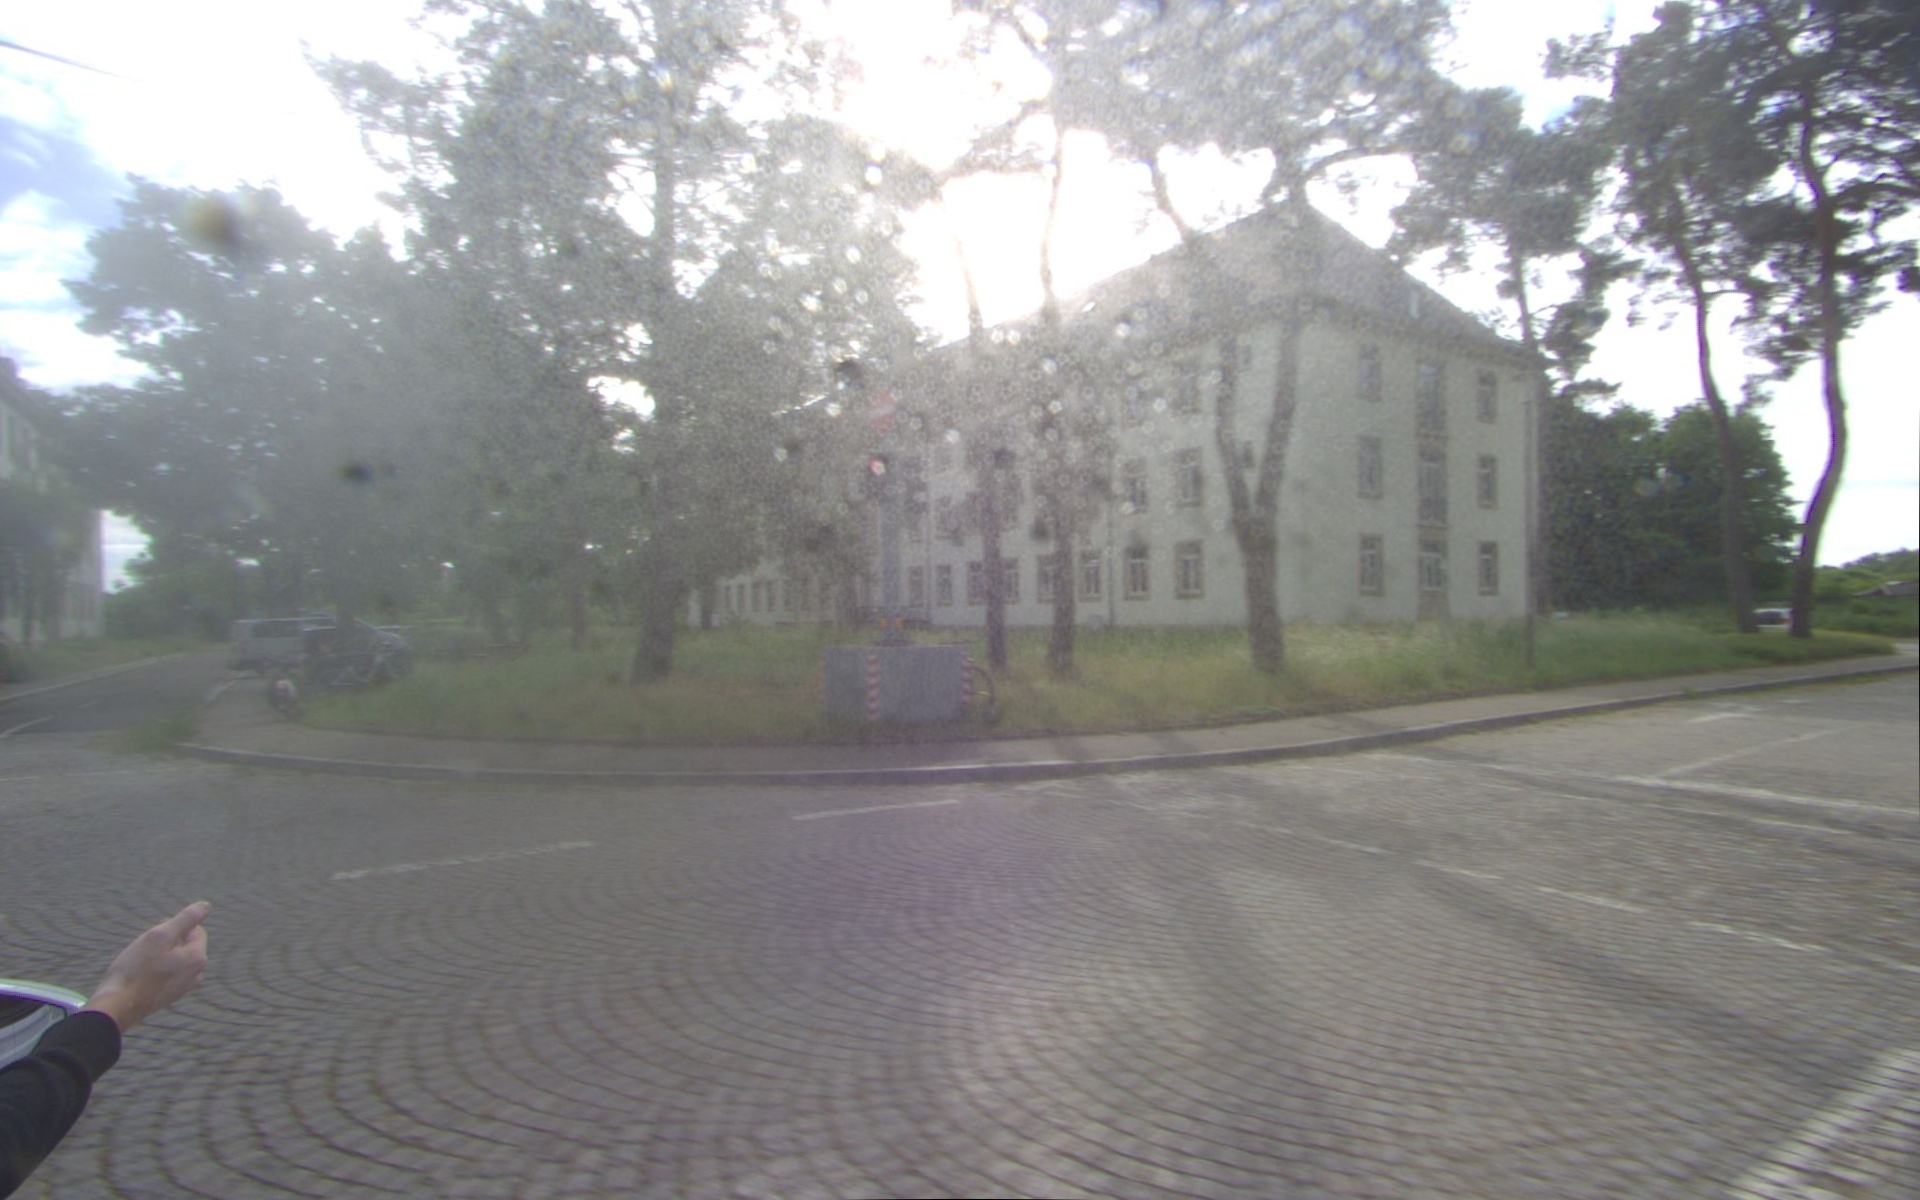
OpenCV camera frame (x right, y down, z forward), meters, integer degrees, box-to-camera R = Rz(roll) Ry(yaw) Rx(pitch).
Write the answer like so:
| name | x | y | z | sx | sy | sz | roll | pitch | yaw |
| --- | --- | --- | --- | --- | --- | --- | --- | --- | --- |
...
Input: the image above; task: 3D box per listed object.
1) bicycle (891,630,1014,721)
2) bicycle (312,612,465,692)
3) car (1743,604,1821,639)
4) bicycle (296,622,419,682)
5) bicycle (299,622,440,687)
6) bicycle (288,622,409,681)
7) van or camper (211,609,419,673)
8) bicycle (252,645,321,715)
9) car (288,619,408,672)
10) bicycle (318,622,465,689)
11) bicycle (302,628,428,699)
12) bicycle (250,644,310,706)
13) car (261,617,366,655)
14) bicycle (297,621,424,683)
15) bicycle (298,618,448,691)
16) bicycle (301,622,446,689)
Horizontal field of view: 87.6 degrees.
| name | x | y | z | sx | sy | sz | roll | pitch | yaw |
| --- | --- | --- | --- | --- | --- | --- | --- | --- | --- |
| bicycle | -0.136 | 0.973 | 13.426 | 0.638 | 1.077 | 1.820 | -5 | 2 | -37 |
| bicycle | -12.236 | 1.076 | 21.495 | 2.775 | 1.604 | 0.944 | 0 | 0 | -35 |
| car | 37.740 | 0.977 | 45.965 | 3.644 | 1.553 | 1.762 | 0 | 0 | -33 |
| bicycle | -14.847 | 1.244 | 24.718 | 2.543 | 1.389 | 0.944 | 0 | 0 | -36 |
| bicycle | -13.721 | 1.229 | 23.317 | 2.775 | 1.389 | 0.944 | 0 | 0 | -35 |
| bicycle | -15.443 | 1.263 | 25.318 | 2.543 | 1.389 | 0.944 | 0 | 0 | -36 |
| van or camper | -22.169 | 1.344 | 34.625 | 2.214 | 1.983 | 5.709 | -1 | -1 | 43 |
| bicycle | -11.063 | 1.274 | 16.447 | 0.892 | 1.009 | 1.966 | 0 | -1 | -35 |
| car | -19.817 | 1.448 | 32.442 | 3.194 | 1.641 | 1.925 | 1 | -2 | -35 |
| bicycle | -12.642 | 1.199 | 22.336 | 2.775 | 1.389 | 0.944 | 0 | 0 | -35 |
| bicycle | -11.856 | 1.234 | 19.971 | 2.092 | 1.323 | 0.868 | 0 | 0 | -35 |
| bicycle | -12.278 | 1.329 | 18.134 | 0.719 | 1.009 | 1.969 | -1 | -1 | -29 |
| car | -29.786 | 1.637 | 46.159 | 3.951 | 1.621 | 1.691 | 0 | -1 | -37 |
| bicycle | -14.373 | 1.223 | 24.031 | 2.543 | 1.389 | 0.944 | 0 | 0 | -36 |
| bicycle | -12.039 | 1.075 | 20.582 | 2.594 | 1.385 | 0.868 | 0 | 0 | -35 |
| bicycle | -13.204 | 1.206 | 22.595 | 2.775 | 1.389 | 0.944 | 0 | 0 | -35 |
